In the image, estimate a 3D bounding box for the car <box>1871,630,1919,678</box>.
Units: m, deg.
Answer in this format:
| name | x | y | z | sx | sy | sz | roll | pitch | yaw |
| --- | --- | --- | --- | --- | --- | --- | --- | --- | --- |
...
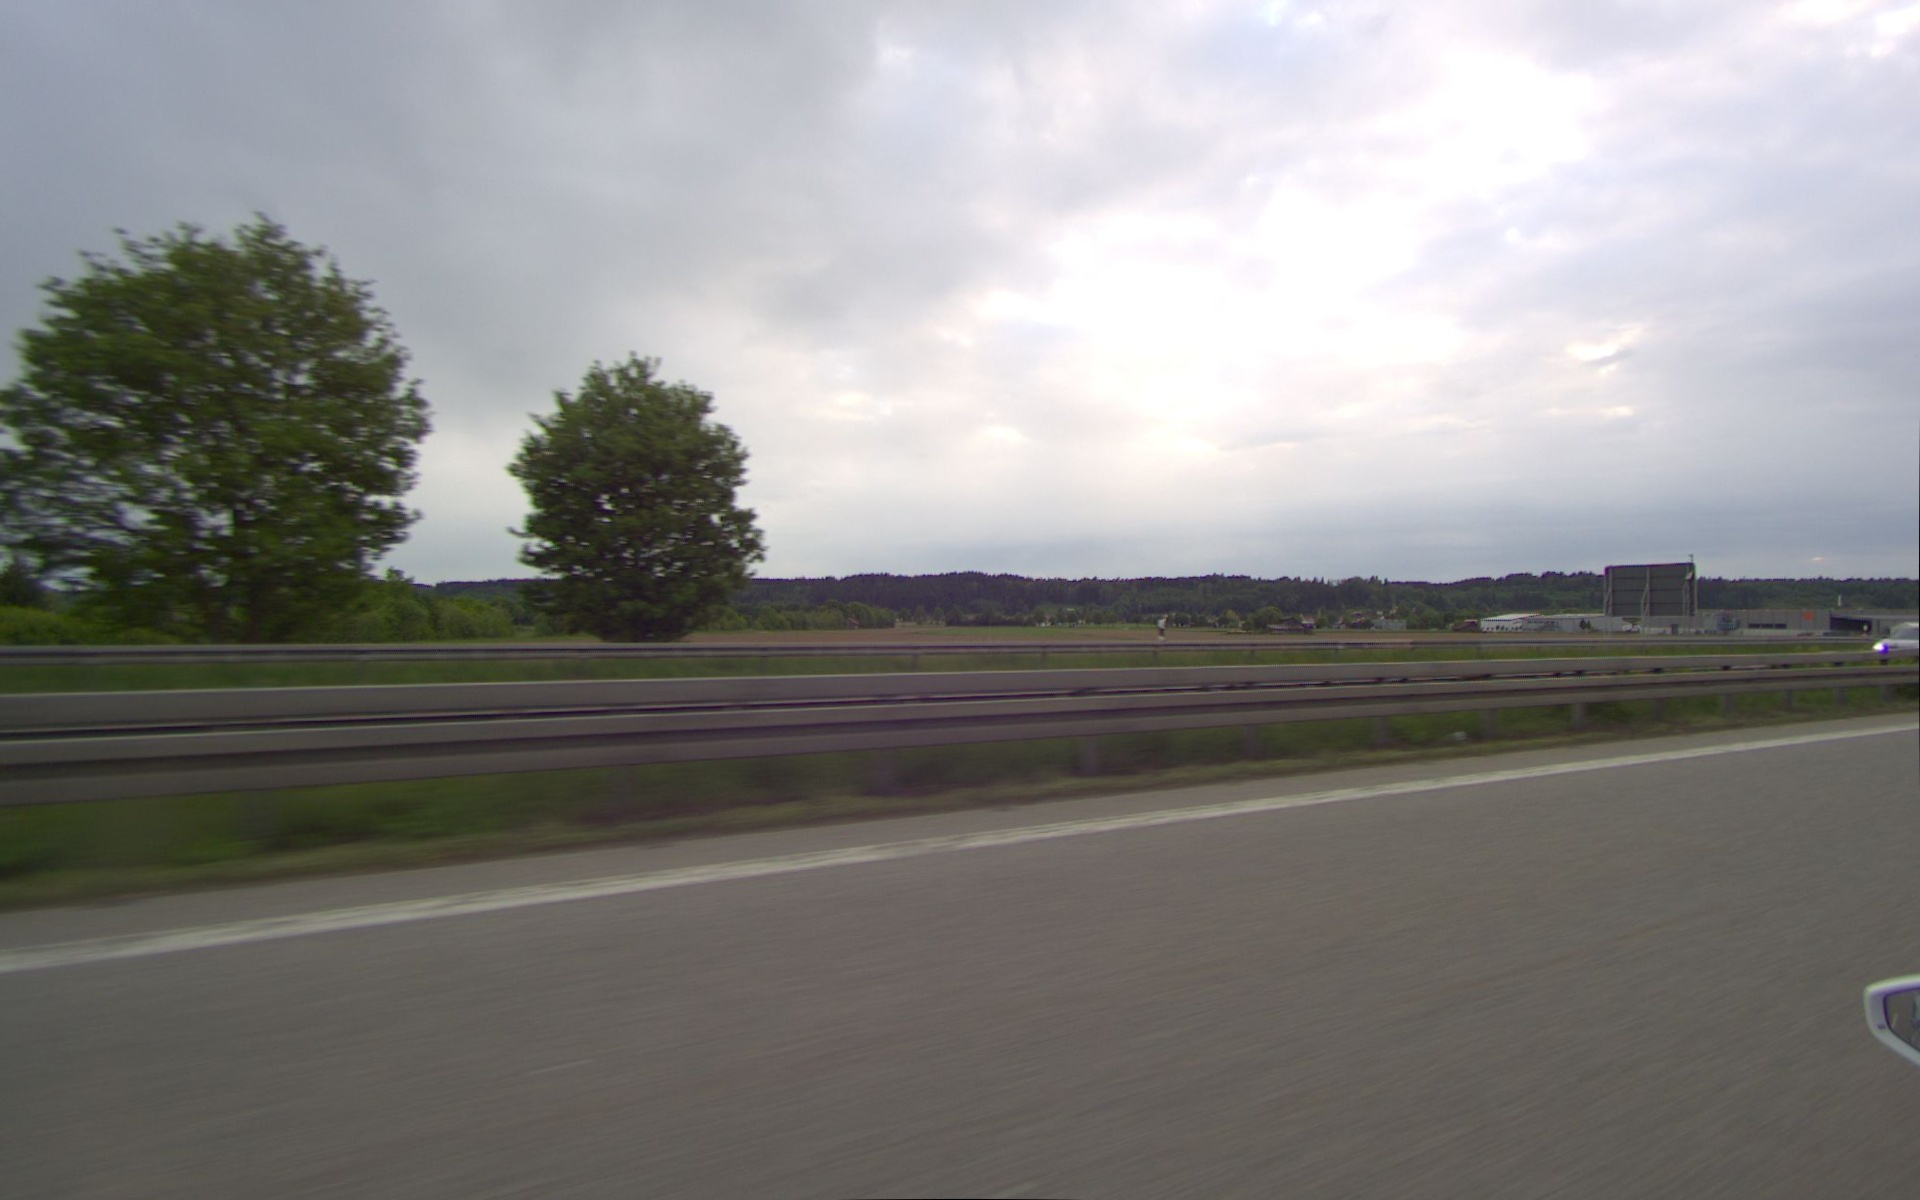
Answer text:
| name | x | y | z | sx | sy | sz | roll | pitch | yaw |
| --- | --- | --- | --- | --- | --- | --- | --- | --- | --- |
| car | 34.576 | 1.921 | 35.795 | 4.800 | 1.595 | 1.732 | 2 | 0 | -30 |
